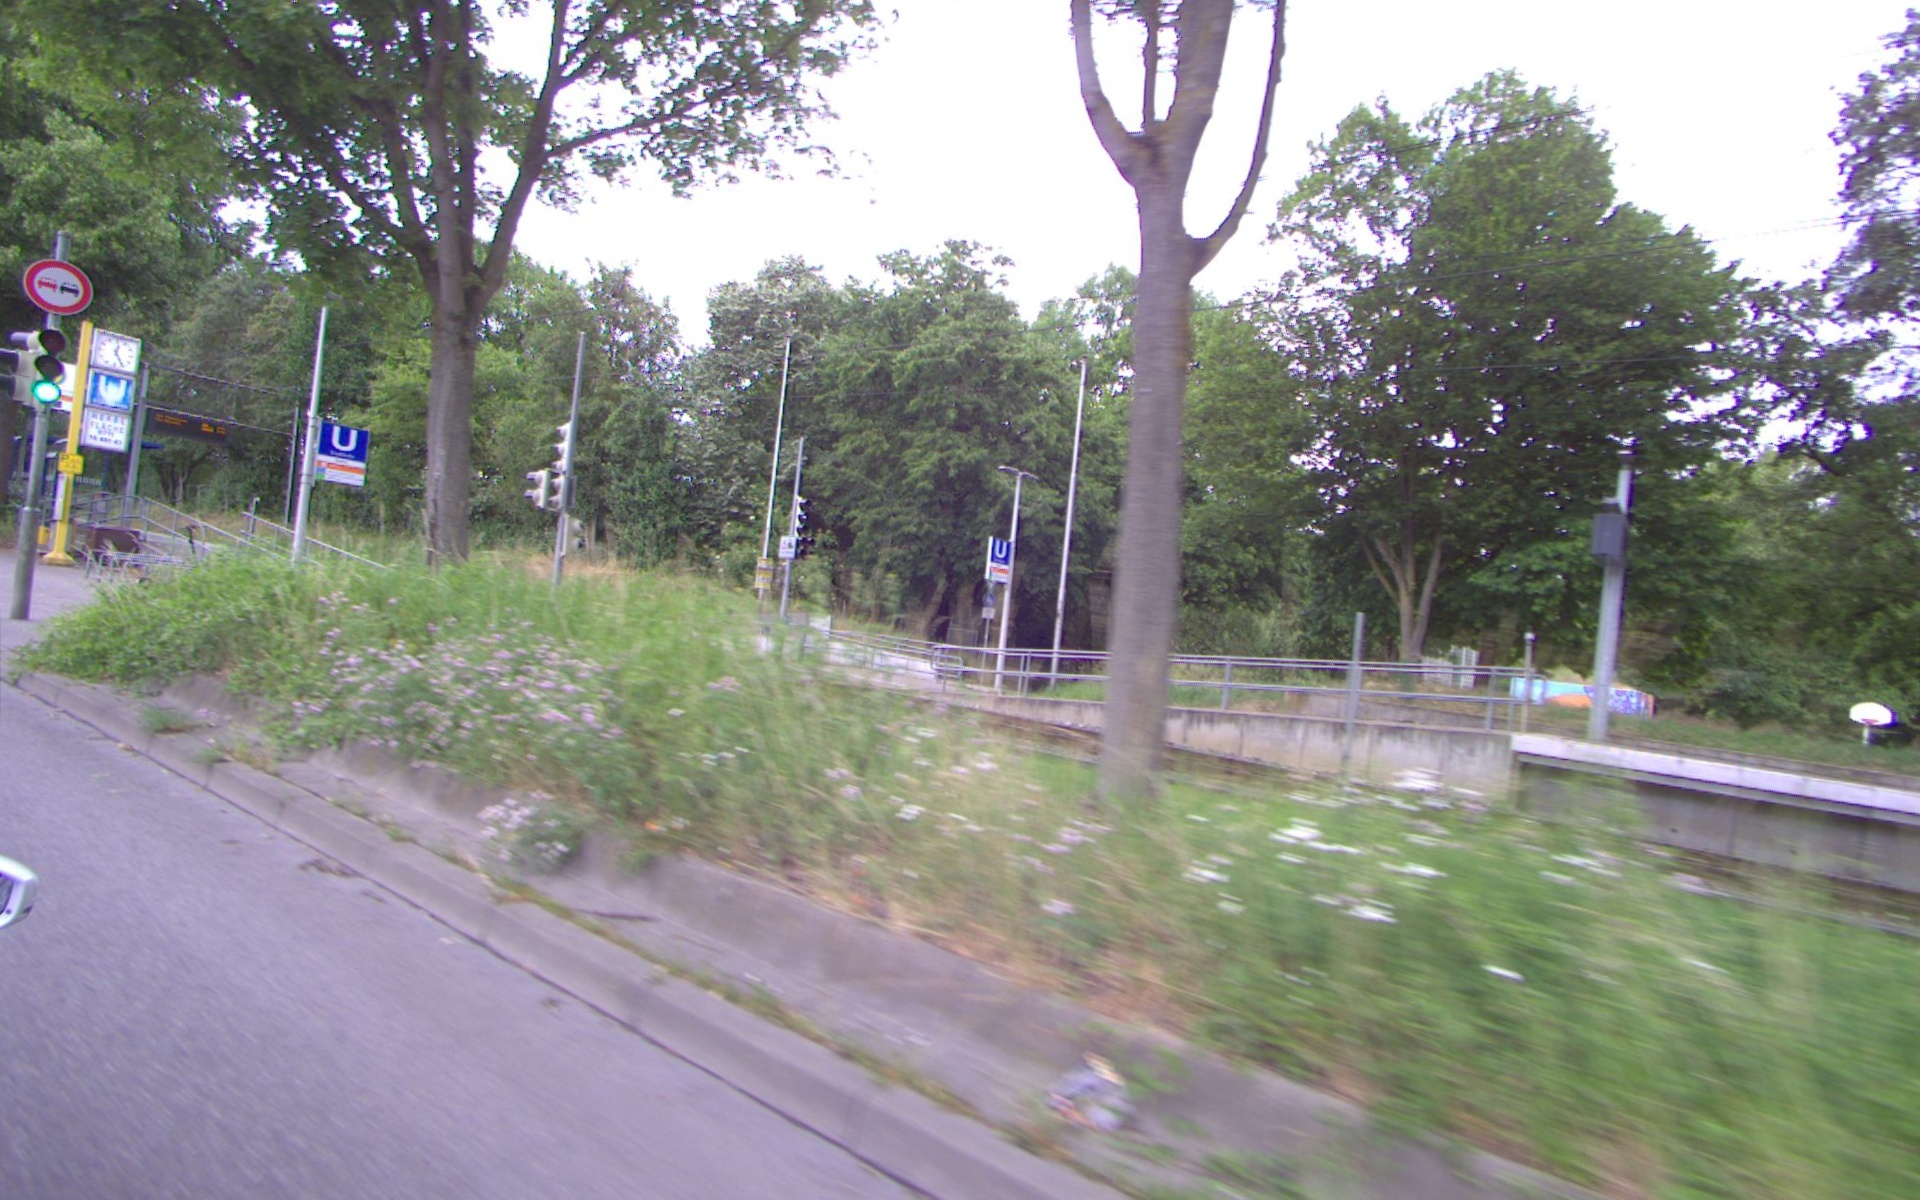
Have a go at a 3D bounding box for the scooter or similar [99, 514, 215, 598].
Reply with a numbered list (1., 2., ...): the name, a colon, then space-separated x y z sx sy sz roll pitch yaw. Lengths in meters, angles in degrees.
1. scooter or similar: -13.979 -0.741 17.562 0.476 1.257 1.459 7 -1 16
